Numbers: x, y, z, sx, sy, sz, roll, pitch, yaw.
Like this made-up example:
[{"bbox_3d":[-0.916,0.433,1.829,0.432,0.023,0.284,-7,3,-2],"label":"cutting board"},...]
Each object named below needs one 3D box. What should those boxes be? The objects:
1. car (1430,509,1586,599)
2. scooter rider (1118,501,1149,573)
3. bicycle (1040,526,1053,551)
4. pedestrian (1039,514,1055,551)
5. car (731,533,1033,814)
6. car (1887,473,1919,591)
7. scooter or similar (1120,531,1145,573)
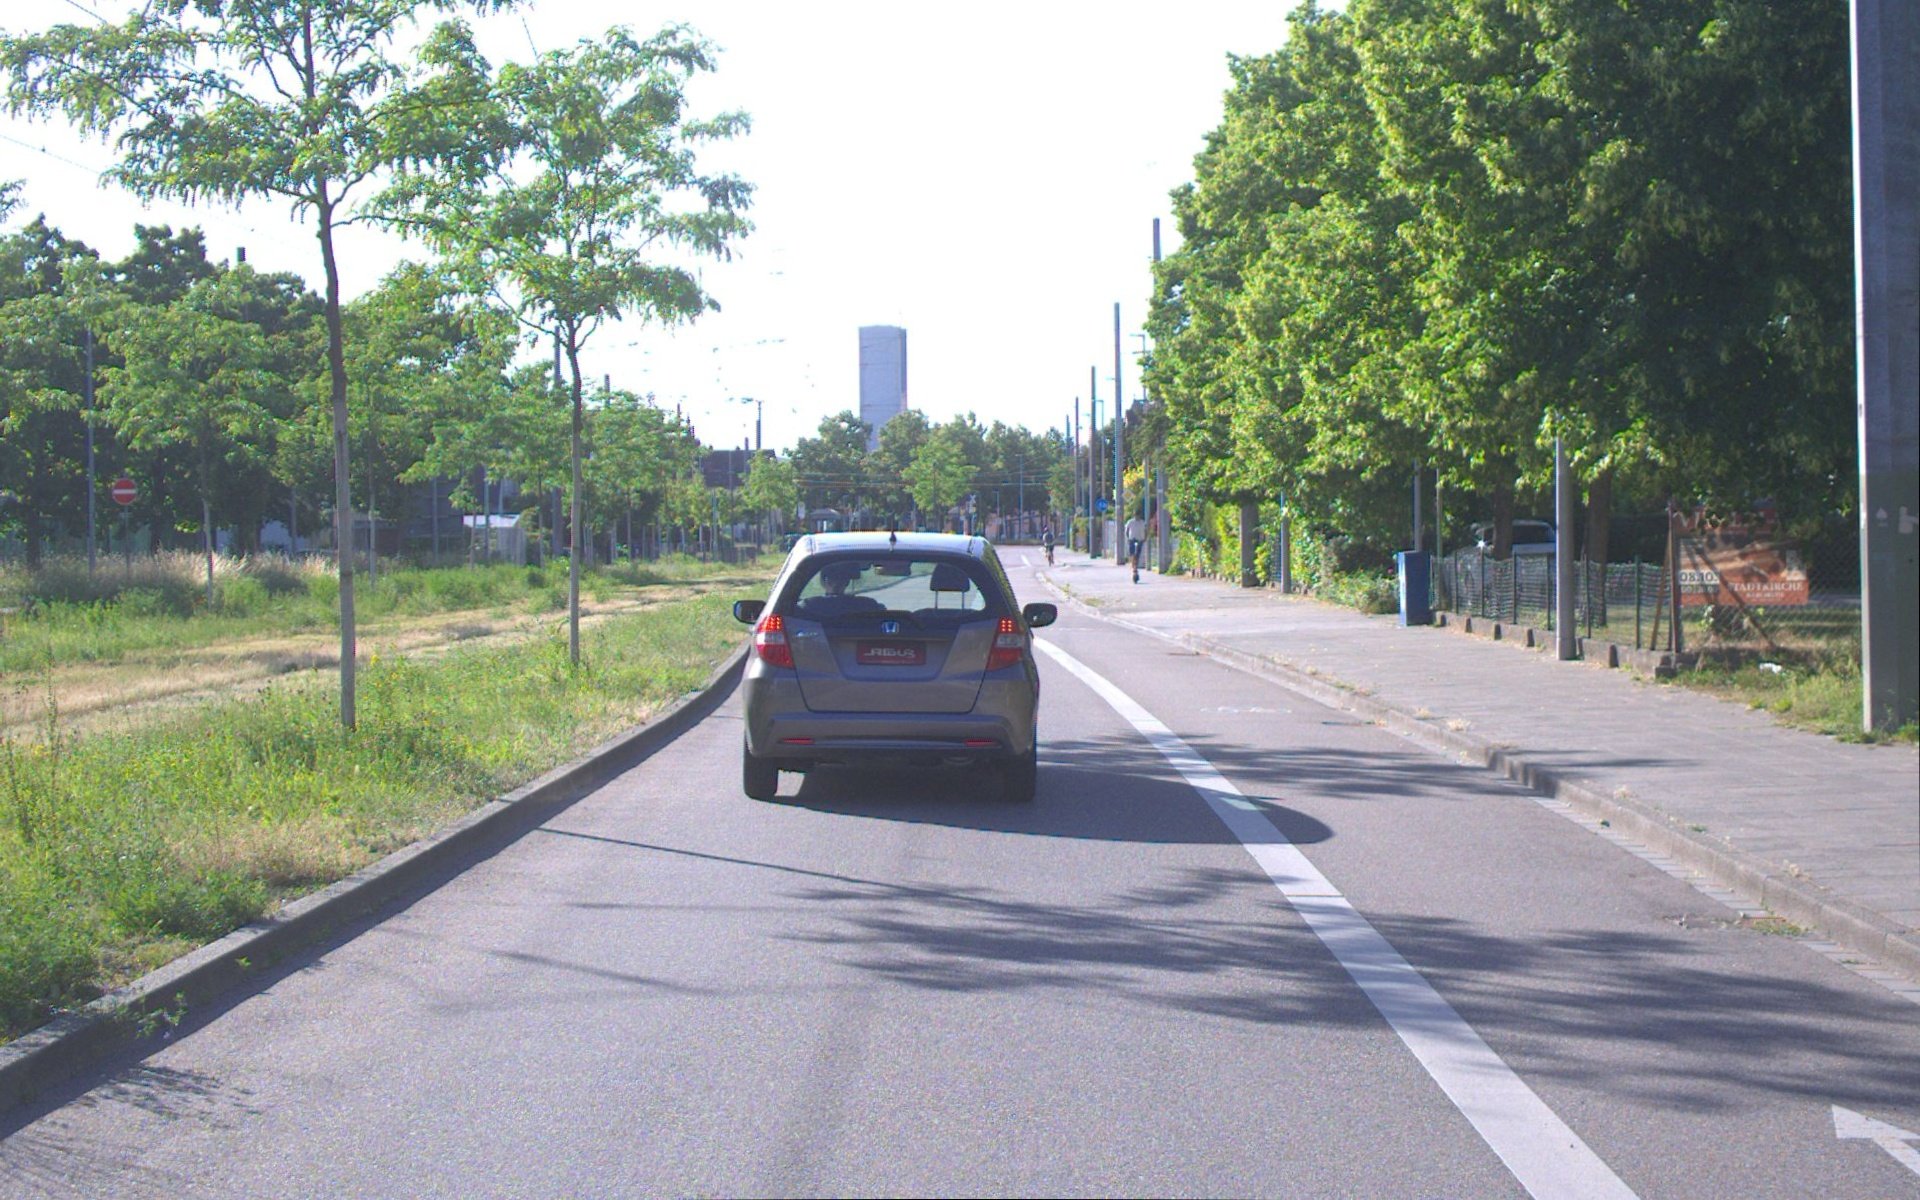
[{"bbox_3d":[9.051,-0.778,57.041,1.774,1.382,3.871,-2,1,-3],"label":"car"},{"bbox_3d":[4.634,-1.675,91.778,0.716,1.894,0.935,-1,1,-1],"label":"scooter rider"},{"bbox_3d":[4.322,-3.105,172.592,0.512,1.237,3.090,-1,1,-1],"label":"bicycle"},{"bbox_3d":[4.343,-3.391,172.513,0.722,1.794,1.164,-1,1,-1],"label":"pedestrian"},{"bbox_3d":[-0.390,0.367,20.464,1.624,1.494,3.457,1,1,1],"label":"car"},{"bbox_3d":[16.939,-1.122,56.793,1.872,1.960,5.167,0,1,0],"label":"car"},{"bbox_3d":[4.612,-1.287,91.805,0.539,1.114,1.417,-1,1,-1],"label":"scooter or similar"}]
